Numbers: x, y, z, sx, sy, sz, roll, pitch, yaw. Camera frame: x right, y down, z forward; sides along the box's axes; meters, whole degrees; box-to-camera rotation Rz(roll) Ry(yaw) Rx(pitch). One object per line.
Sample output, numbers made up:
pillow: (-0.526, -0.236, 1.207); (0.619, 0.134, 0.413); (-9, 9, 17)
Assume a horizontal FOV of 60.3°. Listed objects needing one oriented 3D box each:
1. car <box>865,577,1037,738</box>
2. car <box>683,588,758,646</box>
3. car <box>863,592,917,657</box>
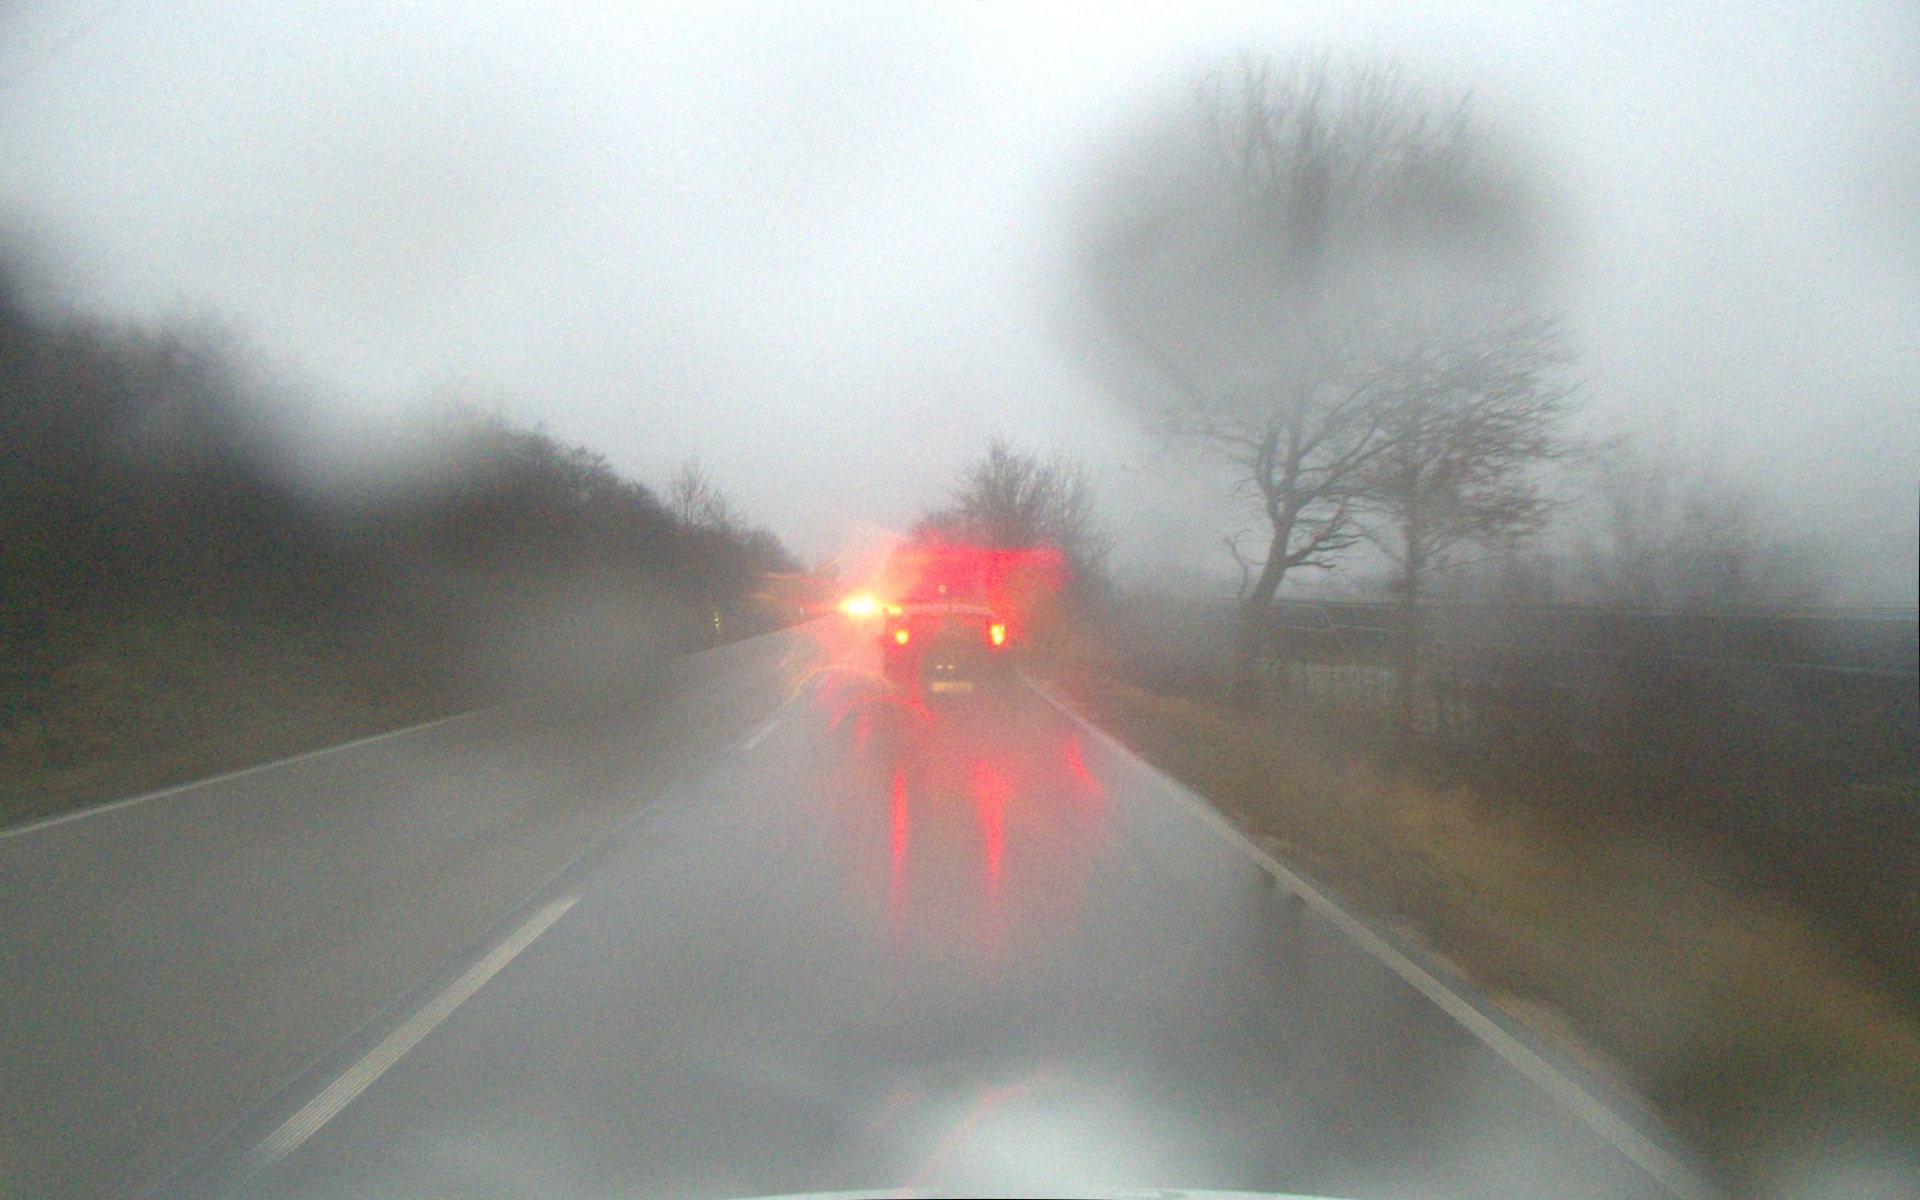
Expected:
car: (-0.156, 0.678, 21.162); (1.953, 1.816, 3.998); (1, 0, -2)
car: (-7.921, 0.549, 55.011); (1.953, 1.816, 3.998); (1, 0, -2)
car: (-2.144, 0.729, 51.253); (1.543, 1.908, 3.707); (1, 0, -2)
